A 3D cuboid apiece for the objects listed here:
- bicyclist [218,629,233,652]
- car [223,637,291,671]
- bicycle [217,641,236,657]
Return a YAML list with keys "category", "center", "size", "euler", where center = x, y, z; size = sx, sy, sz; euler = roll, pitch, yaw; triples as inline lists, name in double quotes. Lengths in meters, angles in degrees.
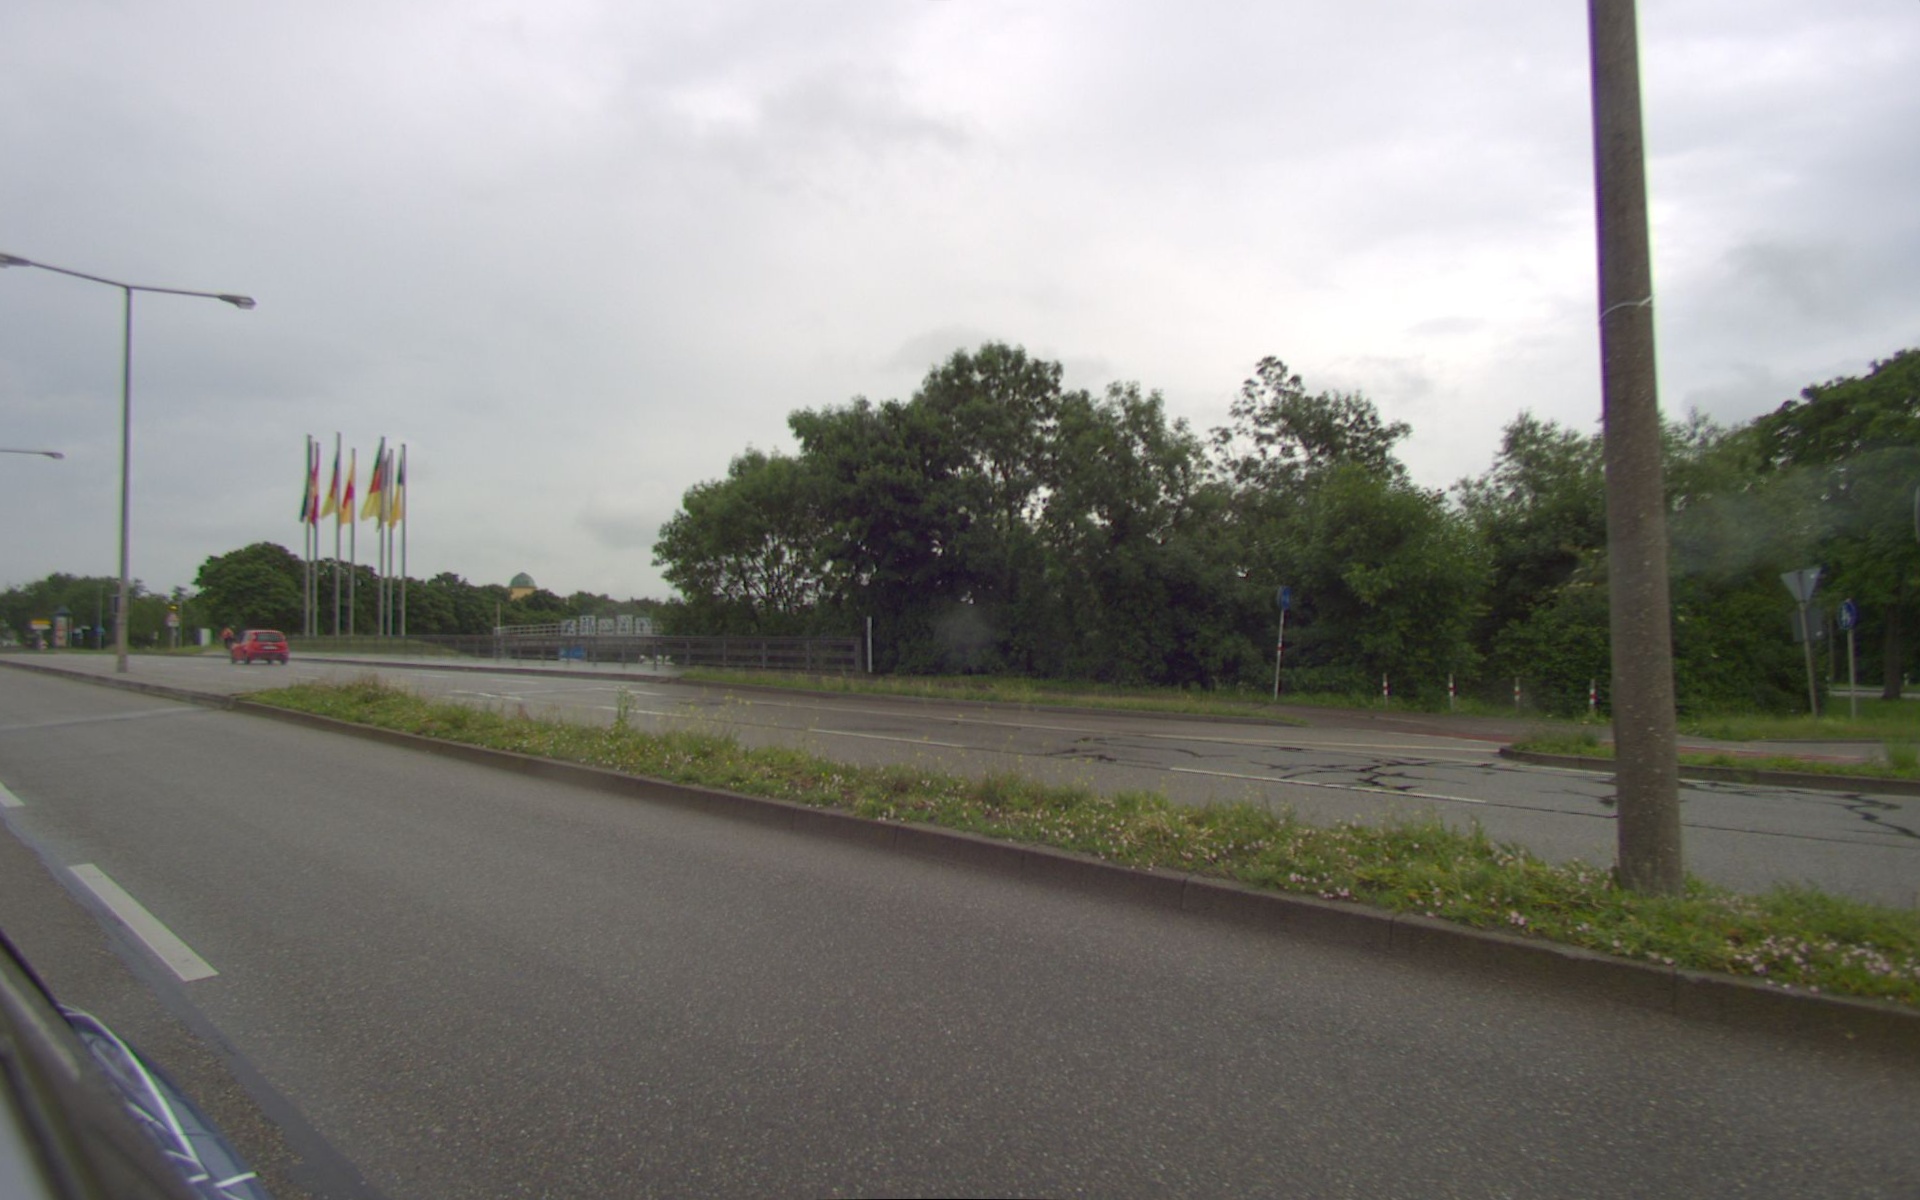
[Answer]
- category: "bicyclist"
  center: [-50.100, 2.759, 69.066]
  size: [1.002, 1.511, 0.613]
  euler: [-2, -1, 41]
- category: "car"
  center: [-31.899, 2.436, 45.901]
  size: [3.555, 1.459, 1.643]
  euler: [-2, -4, 41]
- category: "bicycle"
  center: [-50.090, 3.329, 69.058]
  size: [2.000, 1.041, 0.603]
  euler: [-2, -1, 41]
